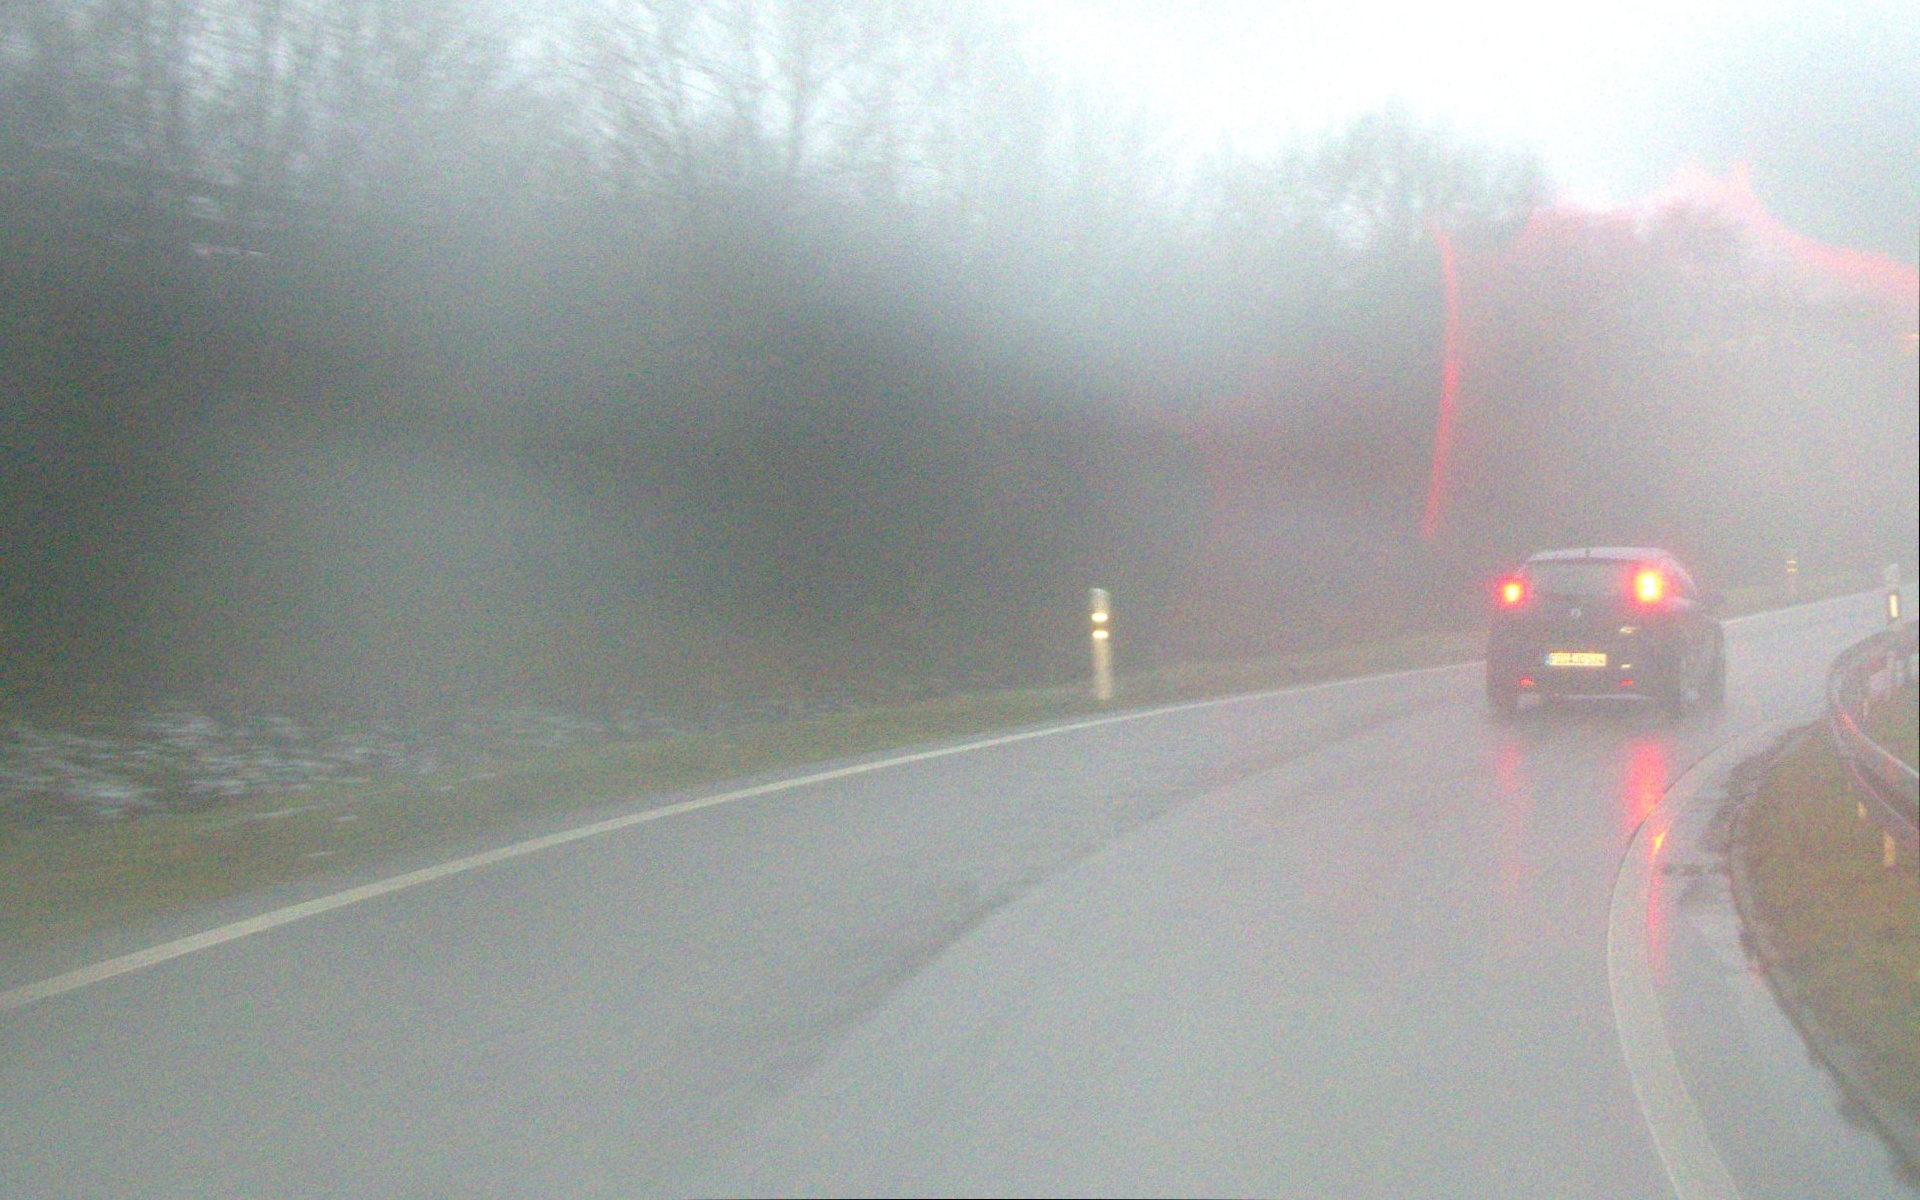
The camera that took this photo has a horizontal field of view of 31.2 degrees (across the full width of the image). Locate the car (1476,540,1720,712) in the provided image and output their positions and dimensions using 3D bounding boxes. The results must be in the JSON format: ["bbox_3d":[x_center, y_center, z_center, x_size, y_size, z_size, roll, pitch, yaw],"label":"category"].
[{"bbox_3d":[5.838,0.191,31.161,1.733,1.424,3.762,1,1,17],"label":"car"}]
